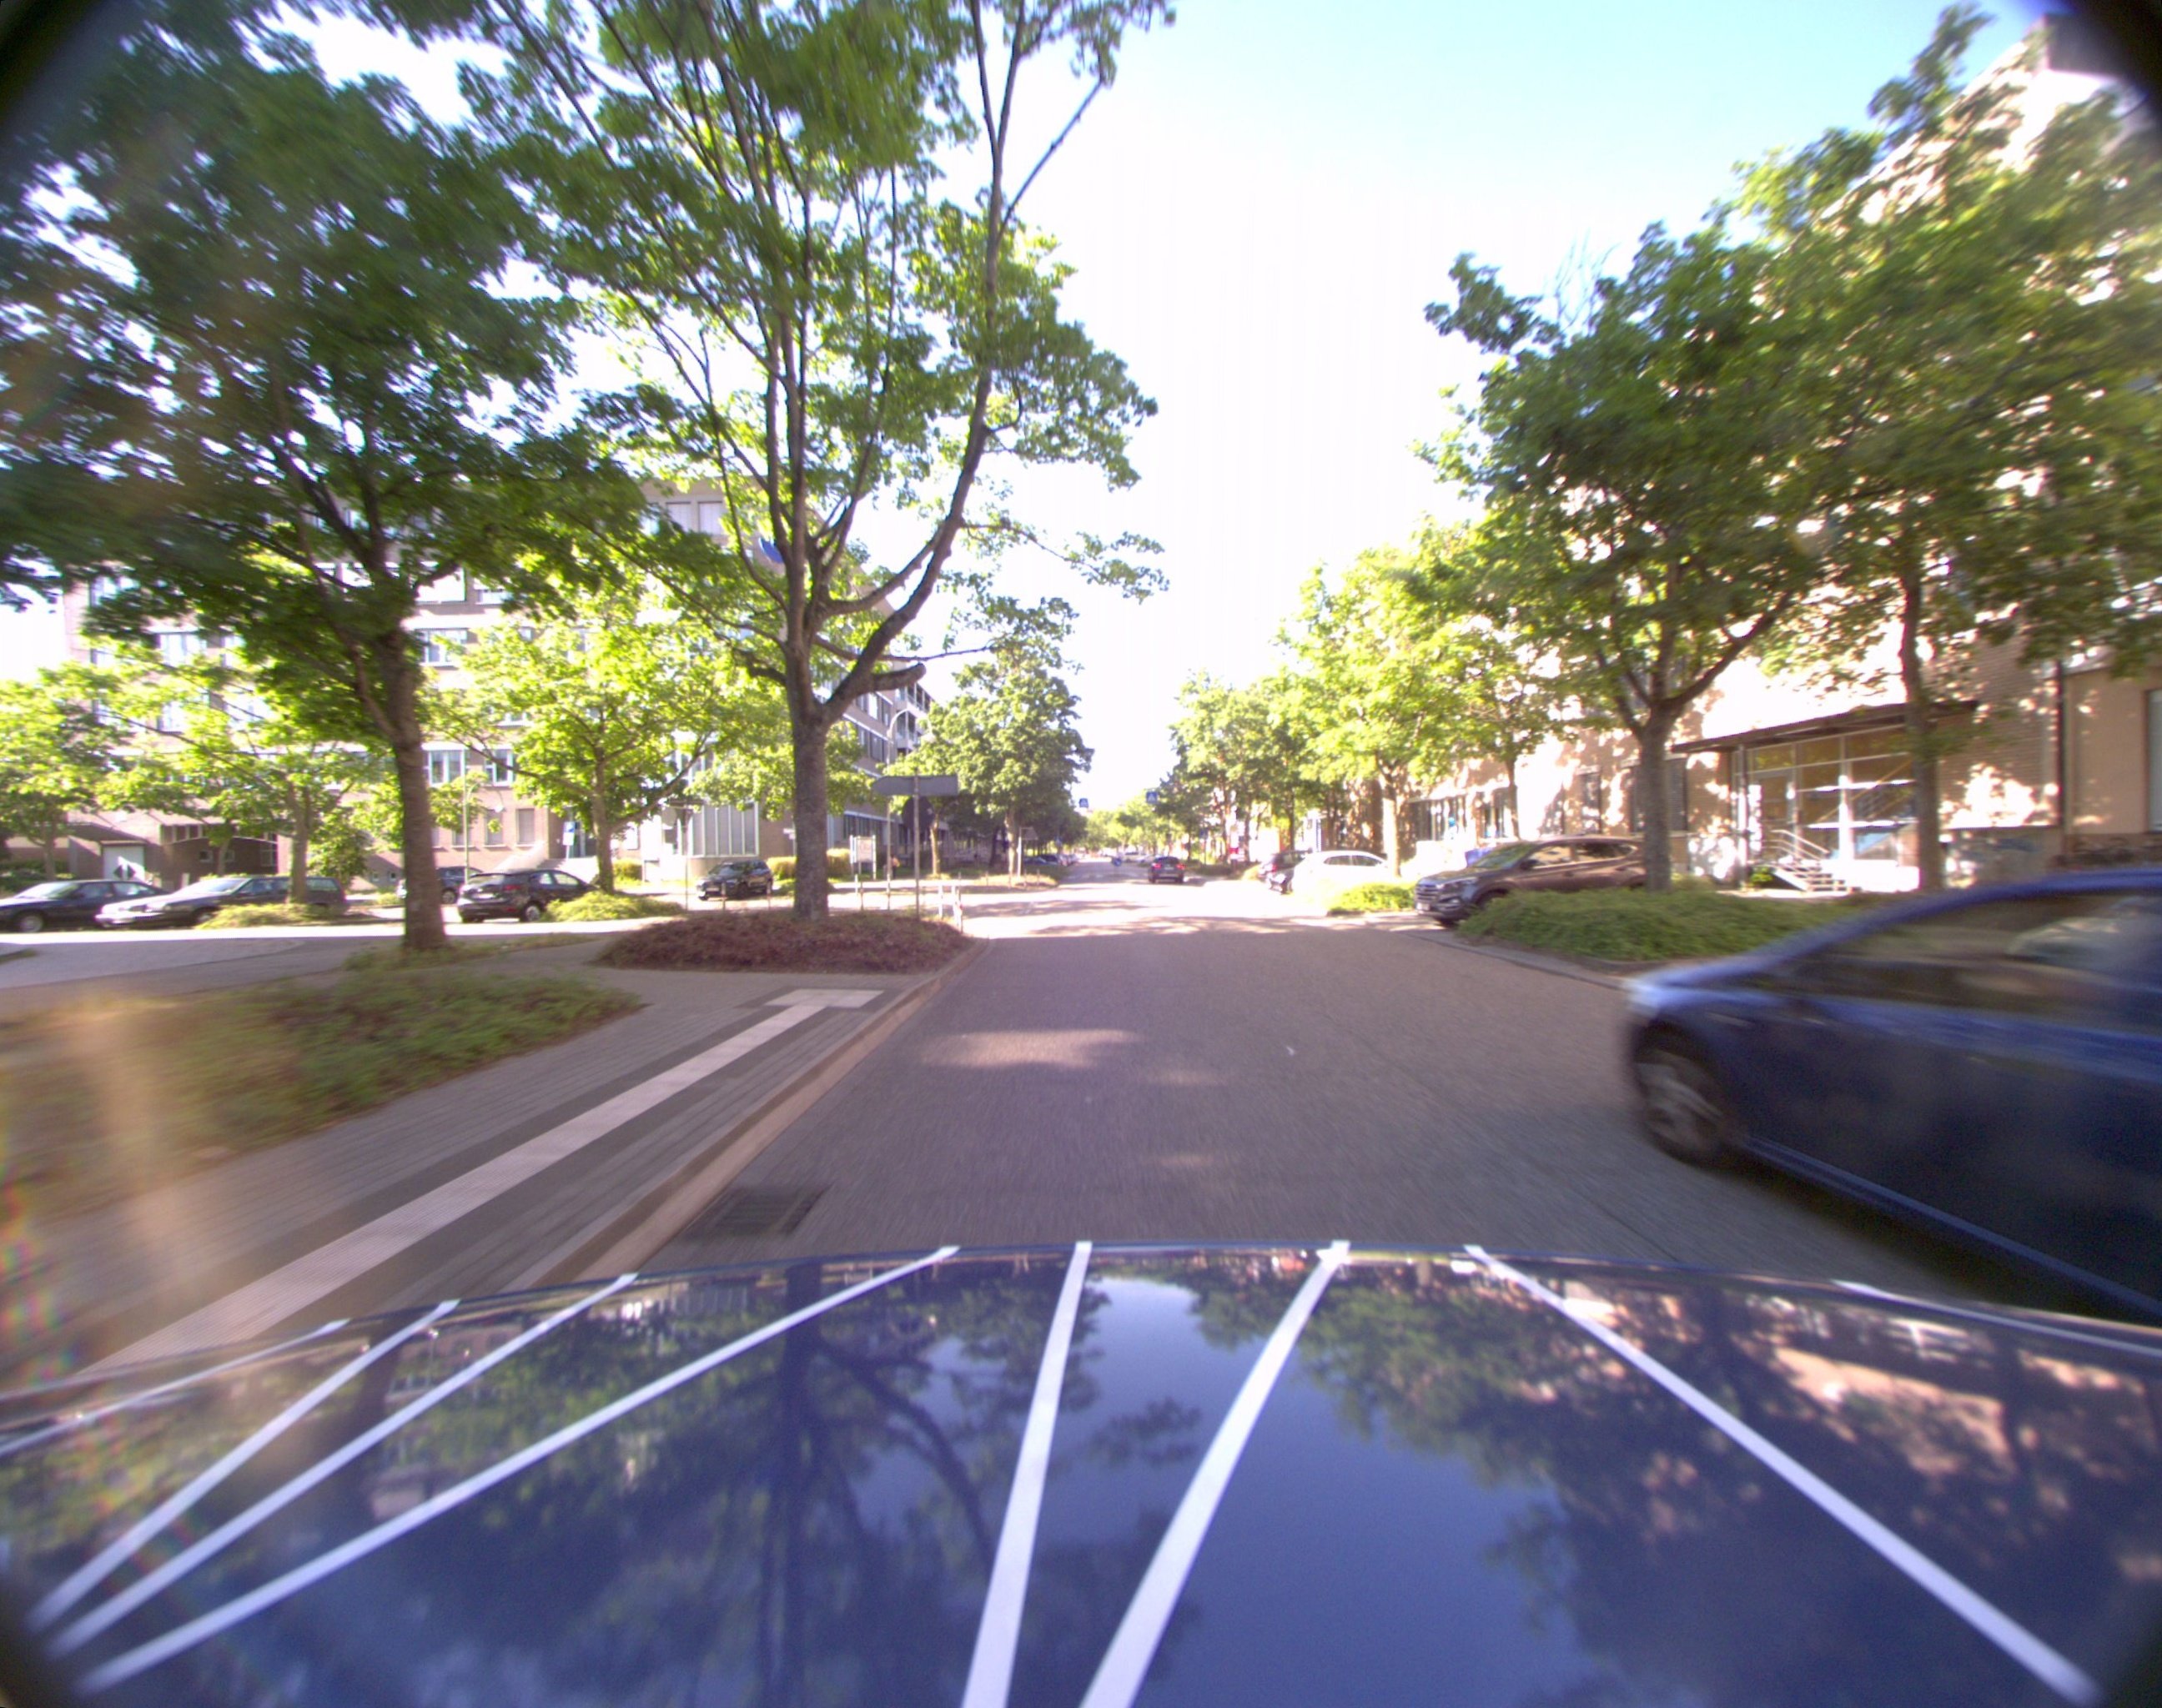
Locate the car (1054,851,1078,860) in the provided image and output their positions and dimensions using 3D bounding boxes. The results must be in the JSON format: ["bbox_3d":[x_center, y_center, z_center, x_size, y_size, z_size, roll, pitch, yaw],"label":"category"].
[{"bbox_3d":[-2.554,0.270,128.861,3.998,1.471,1.804,0,1,-2],"label":"car"}]

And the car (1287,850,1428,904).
[{"bbox_3d":[8.607,0.706,23.870,3.763,1.444,1.754,-3,0,2],"label":"car"}]

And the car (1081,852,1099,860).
[{"bbox_3d":[1.842,0.487,152.602,3.554,1.544,1.743,1,-2,-2],"label":"car"}]

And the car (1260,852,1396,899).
[{"bbox_3d":[8.632,0.719,26.802,4.162,1.394,1.801,-3,0,0],"label":"car"}]

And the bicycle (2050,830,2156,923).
[{"bbox_3d":[16.950,0.349,12.600,1.731,1.401,0.613,-3,1,-22],"label":"bicycle"}]

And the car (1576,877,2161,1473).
[{"bbox_3d":[3.555,0.850,2.210,1.648,1.412,4.000,-1,0,0],"label":"car"}]

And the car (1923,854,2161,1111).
[{"bbox_3d":[8.364,0.723,4.865,3.843,1.452,1.733,-2,0,4],"label":"car"}]

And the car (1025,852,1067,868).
[{"bbox_3d":[-3.471,0.579,74.955,4.136,1.452,1.659,1,1,-3],"label":"car"}]

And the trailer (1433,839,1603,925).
[{"bbox_3d":[9.581,0.584,16.826,2.732,1.677,1.712,-3,0,1],"label":"trailer"}]

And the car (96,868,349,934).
[{"bbox_3d":[-22.534,1.162,20.247,1.693,1.452,4.273,-1,0,4],"label":"car"}]

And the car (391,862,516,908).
[{"bbox_3d":[-27.031,1.275,32.916,1.702,1.576,4.000,-1,3,7],"label":"car"}]

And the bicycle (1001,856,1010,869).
[{"bbox_3d":[-6.294,0.710,63.385,0.535,1.072,1.920,-1,0,2],"label":"bicycle"}]

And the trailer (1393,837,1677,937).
[{"bbox_3d":[8.448,0.580,14.393,4.272,1.563,1.855,-3,0,-3],"label":"trailer"}]

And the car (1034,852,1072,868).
[{"bbox_3d":[-3.075,0.664,84.285,4.136,1.657,1.907,-1,0,-3],"label":"car"}]

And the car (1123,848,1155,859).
[{"bbox_3d":[9.632,-0.063,126.702,5.317,1.875,2.000,0,1,2],"label":"car"}]

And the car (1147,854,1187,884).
[{"bbox_3d":[4.715,0.794,42.024,1.784,1.503,4.000,-1,0,1],"label":"car"}]

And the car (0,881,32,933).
[{"bbox_3d":[-33.351,1.565,21.548,1.626,1.555,4.001,-1,-2,1],"label":"car"}]

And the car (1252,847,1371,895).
[{"bbox_3d":[8.857,0.644,29.410,3.997,1.561,1.728,-3,0,0],"label":"car"}]

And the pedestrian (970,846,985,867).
[{"bbox_3d":[-9.129,0.221,67.043,1.037,1.788,1.018,-3,1,0],"label":"pedestrian"}]

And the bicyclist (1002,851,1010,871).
[{"bbox_3d":[-6.293,0.595,63.547,0.538,1.627,0.822,-1,1,1],"label":"bicyclist"}]

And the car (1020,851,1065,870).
[{"bbox_3d":[-3.590,0.611,70.740,4.136,1.581,1.659,1,2,-3],"label":"car"}]

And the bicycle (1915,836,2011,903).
[{"bbox_3d":[17.246,0.292,14.855,1.697,1.222,0.451,-3,1,-12],"label":"bicycle"}]

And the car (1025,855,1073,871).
[{"bbox_3d":[-2.771,0.784,66.145,4.127,1.362,1.654,1,1,-3],"label":"car"}]

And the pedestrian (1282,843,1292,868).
[{"bbox_3d":[16.587,0.105,61.281,0.623,1.911,0.670,-2,13,2],"label":"pedestrian"}]

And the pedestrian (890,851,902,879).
[{"bbox_3d":[-10.679,0.636,43.864,0.539,1.573,0.648,-1,1,-9],"label":"pedestrian"}]

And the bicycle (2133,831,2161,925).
[{"bbox_3d":[17.164,0.334,11.763,1.731,1.401,0.613,-3,1,-22],"label":"bicycle"}]

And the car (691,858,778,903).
[{"bbox_3d":[-14.687,1.071,32.506,1.742,1.557,4.363,-2,2,-2],"label":"car"}]

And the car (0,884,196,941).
[{"bbox_3d":[-26.956,1.540,20.482,1.626,1.360,4.000,-3,-2,-2],"label":"car"}]

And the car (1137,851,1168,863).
[{"bbox_3d":[9.769,0.387,104.240,4.003,1.411,1.618,-2,1,0],"label":"car"}]

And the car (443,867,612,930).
[{"bbox_3d":[-14.490,1.097,20.202,1.656,1.454,3.917,-1,0,-1],"label":"car"}]
